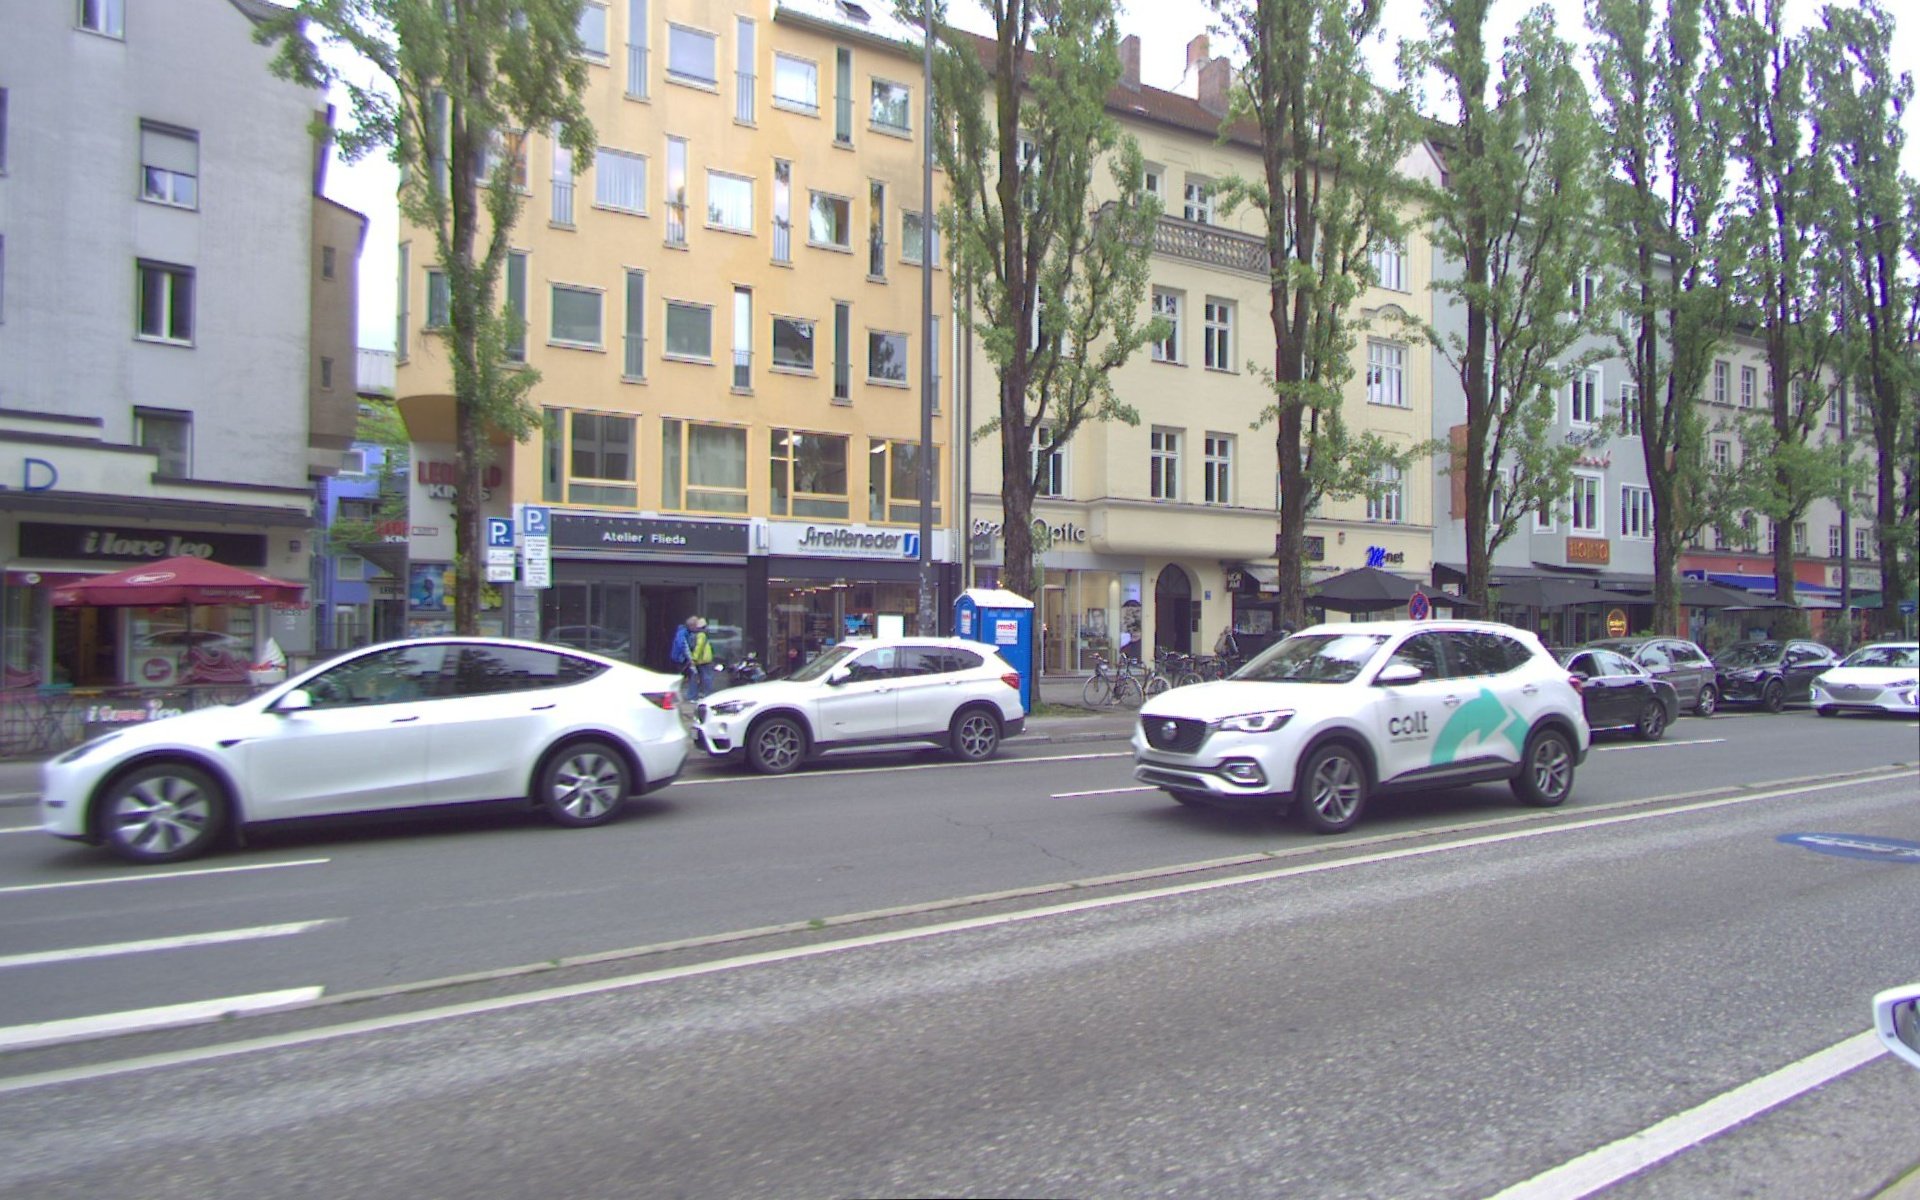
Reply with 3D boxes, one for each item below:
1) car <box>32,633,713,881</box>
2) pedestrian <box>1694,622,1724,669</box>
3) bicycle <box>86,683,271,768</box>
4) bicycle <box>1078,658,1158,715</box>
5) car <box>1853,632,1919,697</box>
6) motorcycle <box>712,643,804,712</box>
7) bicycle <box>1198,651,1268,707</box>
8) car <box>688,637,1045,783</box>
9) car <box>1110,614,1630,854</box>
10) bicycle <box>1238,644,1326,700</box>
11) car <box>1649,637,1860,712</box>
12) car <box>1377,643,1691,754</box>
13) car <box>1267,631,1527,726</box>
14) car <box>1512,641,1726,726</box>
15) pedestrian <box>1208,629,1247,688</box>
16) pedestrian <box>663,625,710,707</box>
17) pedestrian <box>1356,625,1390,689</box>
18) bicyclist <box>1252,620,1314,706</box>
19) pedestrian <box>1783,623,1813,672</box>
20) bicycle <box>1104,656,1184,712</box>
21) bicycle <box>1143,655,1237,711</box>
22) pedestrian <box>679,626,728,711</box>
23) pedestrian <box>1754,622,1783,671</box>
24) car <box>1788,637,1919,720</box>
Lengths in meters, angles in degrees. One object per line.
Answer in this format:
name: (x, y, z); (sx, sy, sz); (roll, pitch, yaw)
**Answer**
car: (-4.654, 1.139, 8.734); (4.575, 1.672, 1.987); (1, -3, -27)
pedestrian: (27.652, 1.687, 37.077); (0.639, 1.722, 0.636); (1, -2, -26)
bicycle: (-10.184, 1.618, 13.172); (1.860, 0.976, 0.456); (1, -2, -33)
bicycle: (3.130, 1.691, 20.010); (0.617, 1.055, 1.626); (1, -3, -36)
car: (25.957, 1.658, 26.383); (4.825, 1.617, 1.988); (1, -3, -25)
motorcycle: (-3.495, 1.298, 17.256); (2.034, 1.050, 0.483); (1, -1, 44)
bicycle: (5.786, 1.653, 21.412); (0.496, 1.115, 2.127); (0, -2, -12)
car: (-1.238, 1.328, 13.316); (4.321, 1.650, 1.988); (1, -2, -25)
car: (3.749, 1.034, 9.102); (4.476, 1.733, 1.854); (1, -3, -26)
bicycle: (6.138, 1.354, 19.124); (1.744, 1.020, 0.507); (1, -2, -27)
car: (17.707, 1.602, 22.385); (4.261, 1.502, 1.988); (1, -3, -25)
car: (8.688, 1.384, 15.192); (4.478, 1.453, 1.934); (1, -2, -26)
car: (7.769, 1.314, 17.849); (4.238, 1.513, 1.934); (1, -2, -25)
car: (13.195, 1.607, 20.110); (3.946, 1.539, 1.799); (1, -3, -26)
pedestrian: (7.329, 1.591, 27.530); (0.804, 1.582, 0.632); (1, -1, -25)
pedestrian: (-5.733, 1.367, 21.043); (0.754, 1.647, 0.836); (2, -1, -28)
pedestrian: (11.717, 1.604, 28.520); (0.745, 1.770, 0.537); (1, -1, -26)
bicyclist: (6.159, 1.188, 19.138); (1.093, 1.601, 0.494); (1, -2, -27)
pedestrian: (32.262, 1.823, 38.681); (0.639, 1.886, 0.636); (1, -2, -26)
bicycle: (3.723, 1.689, 20.406); (0.617, 1.055, 1.626); (1, -3, -36)
bicycle: (4.700, 1.681, 20.663); (0.617, 1.055, 1.994); (1, -3, -35)
pedestrian: (-5.188, 1.371, 20.301); (0.754, 1.647, 0.836); (2, -1, -28)
pedestrian: (31.731, 1.826, 39.418); (0.639, 1.886, 0.636); (1, -2, -26)
car: (18.957, 1.498, 20.229); (4.399, 1.513, 1.933); (1, -2, -27)
